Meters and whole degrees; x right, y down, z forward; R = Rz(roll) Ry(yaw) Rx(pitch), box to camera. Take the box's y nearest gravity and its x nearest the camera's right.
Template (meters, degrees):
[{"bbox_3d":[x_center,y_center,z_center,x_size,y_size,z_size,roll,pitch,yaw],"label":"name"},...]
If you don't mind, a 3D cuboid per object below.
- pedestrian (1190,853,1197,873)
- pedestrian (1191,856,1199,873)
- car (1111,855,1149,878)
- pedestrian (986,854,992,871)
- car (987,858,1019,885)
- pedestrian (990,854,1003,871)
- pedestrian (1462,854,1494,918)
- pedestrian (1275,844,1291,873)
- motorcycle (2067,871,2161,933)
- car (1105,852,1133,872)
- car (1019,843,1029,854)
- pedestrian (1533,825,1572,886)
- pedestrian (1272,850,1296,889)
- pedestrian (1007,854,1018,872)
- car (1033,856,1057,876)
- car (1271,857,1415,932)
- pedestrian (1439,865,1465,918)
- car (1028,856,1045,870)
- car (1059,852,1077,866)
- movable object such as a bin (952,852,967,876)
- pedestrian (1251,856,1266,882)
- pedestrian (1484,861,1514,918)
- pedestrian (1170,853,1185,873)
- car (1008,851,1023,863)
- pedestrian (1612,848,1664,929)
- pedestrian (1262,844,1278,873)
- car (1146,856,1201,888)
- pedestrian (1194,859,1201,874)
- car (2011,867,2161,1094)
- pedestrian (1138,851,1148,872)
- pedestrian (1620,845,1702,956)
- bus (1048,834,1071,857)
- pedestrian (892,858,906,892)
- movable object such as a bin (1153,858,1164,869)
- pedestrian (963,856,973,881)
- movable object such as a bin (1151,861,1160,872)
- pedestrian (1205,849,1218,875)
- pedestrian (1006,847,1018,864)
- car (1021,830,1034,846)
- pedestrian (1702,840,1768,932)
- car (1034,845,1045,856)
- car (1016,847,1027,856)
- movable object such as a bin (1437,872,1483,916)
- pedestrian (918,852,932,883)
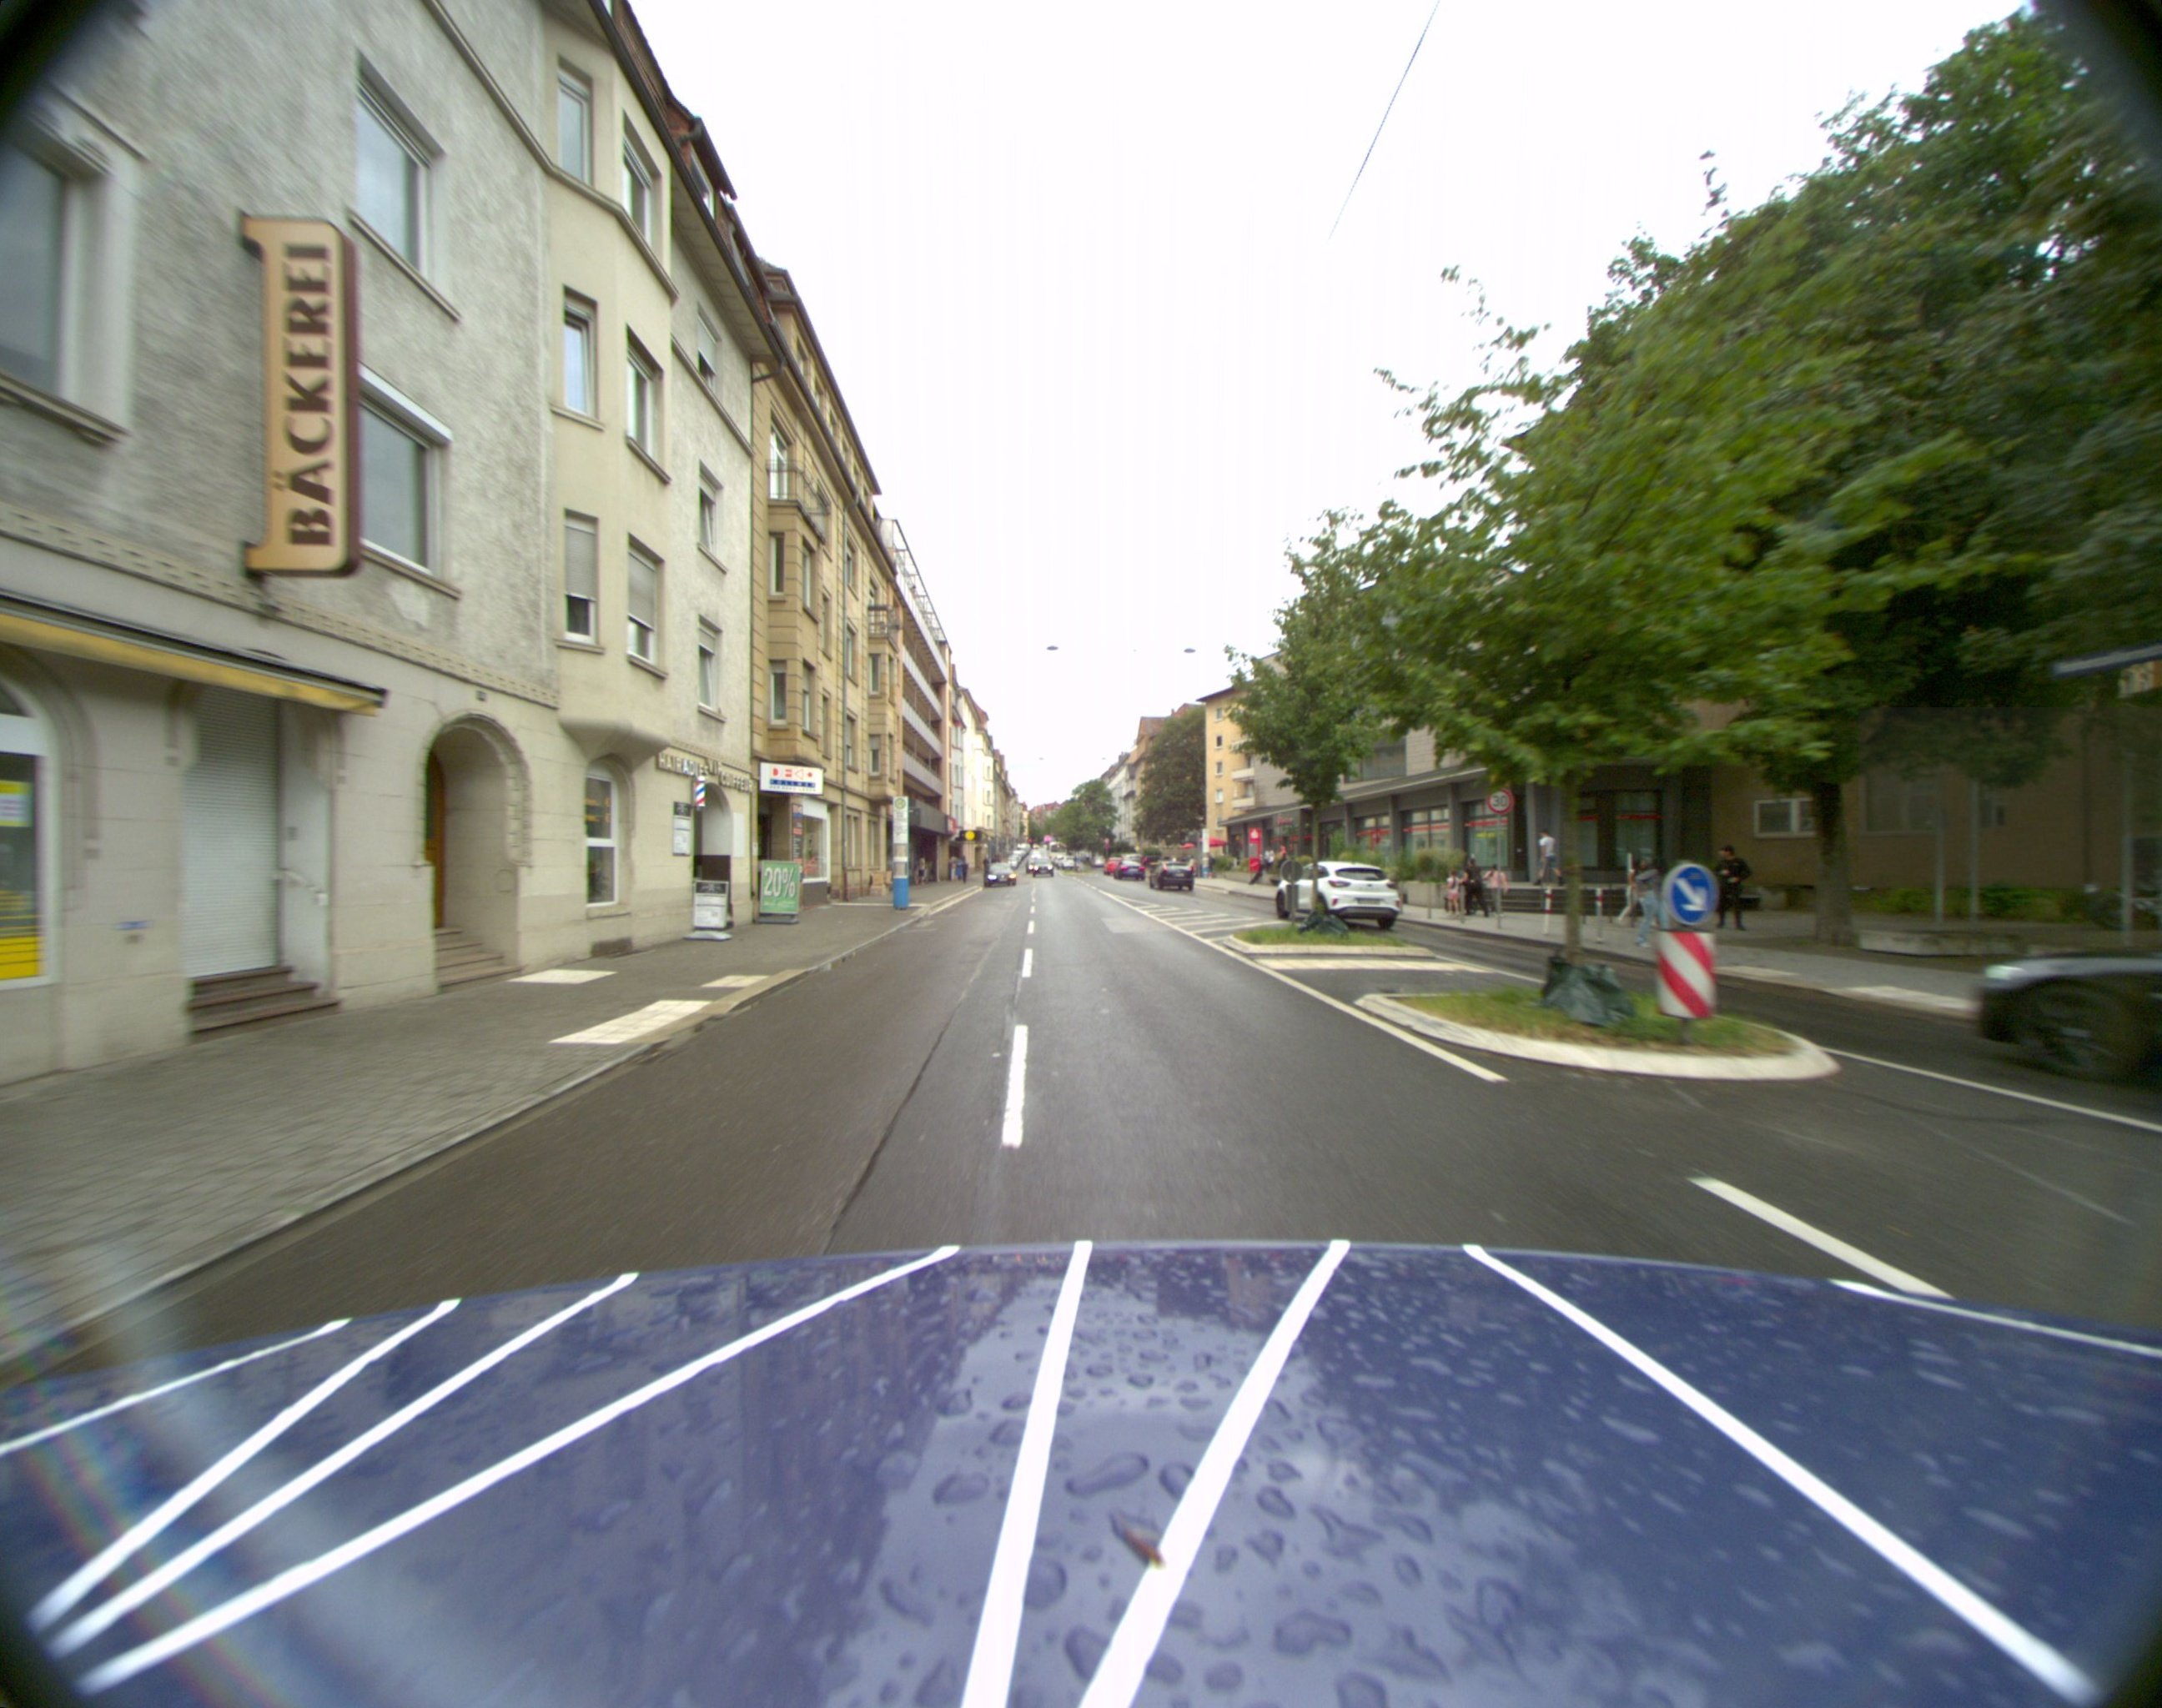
[{"bbox_3d":[8.518,0.673,57.618,0.438,1.540,0.533,-1,1,-4],"label":"pedestrian"},{"bbox_3d":[8.394,0.769,55.981,0.469,1.270,0.549,-1,1,-4],"label":"pedestrian"},{"bbox_3d":[3.619,0.905,57.023,1.961,1.503,4.909,-2,1,-6],"label":"car"},{"bbox_3d":[-9.494,0.840,78.364,0.611,1.738,0.698,1,1,-3],"label":"pedestrian"},{"bbox_3d":[-4.857,1.051,47.868,1.735,1.538,3.980,-1,1,-2],"label":"car"},{"bbox_3d":[-8.651,0.859,77.613,1.060,1.738,0.856,1,1,42],"label":"pedestrian"},{"bbox_3d":[10.474,0.835,20.066,0.499,1.664,0.552,-1,1,-7],"label":"pedestrian"},{"bbox_3d":[11.546,0.249,43.347,0.712,1.669,0.801,-1,1,24],"label":"pedestrian"},{"bbox_3d":[19.161,0.823,13.445,2.056,0.982,0.797,-3,0,12],"label":"motorcycle"},{"bbox_3d":[3.528,0.711,71.902,2.112,1.754,5.057,1,1,-4],"label":"car"},{"bbox_3d":[-10.622,-1.004,141.369,1.720,1.871,3.905,-1,1,-4],"label":"car"},{"bbox_3d":[14.278,0.048,23.029,0.724,1.815,0.720,-2,0,-31],"label":"pedestrian"},{"bbox_3d":[9.547,0.720,35.746,0.724,1.815,0.720,-2,0,-22],"label":"pedestrian"},{"bbox_3d":[-6.511,0.842,72.561,0.701,1.637,0.784,2,1,31],"label":"pedestrian"},{"bbox_3d":[-3.226,1.046,66.633,1.857,1.646,4.202,-1,0,-6],"label":"car"},{"bbox_3d":[6.296,0.903,18.820,1.825,1.560,4.087,3,0,-5],"label":"car"},{"bbox_3d":[9.924,0.993,20.323,0.434,1.402,0.481,-1,1,-7],"label":"pedestrian"},{"bbox_3d":[-4.796,1.000,82.420,1.810,1.412,3.999,-2,0,-3],"label":"car"},{"bbox_3d":[-1.612,0.614,91.023,1.900,1.564,4.122,1,1,-4],"label":"car"},{"bbox_3d":[-9.106,0.729,57.186,1.002,1.783,1.295,-1,1,-5],"label":"movable object such as a bin"},{"bbox_3d":[9.815,0.837,41.935,0.590,1.412,0.726,-1,1,31],"label":"pedestrian"},{"bbox_3d":[11.034,0.928,20.048,0.461,1.465,0.530,-1,1,-7],"label":"pedestrian"},{"bbox_3d":[8.132,0.756,64.023,0.793,1.699,0.761,-4,1,-28],"label":"pedestrian"},{"bbox_3d":[-8.634,0.364,100.514,1.857,1.456,4.202,-2,1,-5],"label":"car"},{"bbox_3d":[12.474,0.754,17.035,0.658,1.749,0.719,-1,1,-27],"label":"pedestrian"},{"bbox_3d":[11.033,0.261,44.363,0.715,1.669,0.713,-1,1,-4],"label":"pedestrian"},{"bbox_3d":[4.738,0.908,39.417,1.961,1.548,4.241,0,0,-5],"label":"car"},{"bbox_3d":[8.476,0.903,55.453,0.393,1.110,0.386,-1,1,-4],"label":"pedestrian"},{"bbox_3d":[7.998,0.818,3.423,2.019,1.417,4.498,-1,0,-3],"label":"car"},{"bbox_3d":[5.890,0.685,72.315,0.703,2.002,0.782,-2,2,-7],"label":"pedestrian"},{"bbox_3d":[10.005,0.778,13.116,0.724,1.815,0.853,-2,0,-26],"label":"pedestrian"},{"bbox_3d":[-3.420,-1.340,116.488,2.814,3.228,11.954,3,1,-5],"label":"bus"},{"bbox_3d":[-8.654,0.994,36.142,0.563,1.563,0.626,-2,1,-20],"label":"pedestrian"},{"bbox_3d":[7.674,0.928,74.928,0.743,1.052,0.811,-2,2,-28],"label":"movable object such as a bin"},{"bbox_3d":[-7.683,0.993,51.711,0.627,1.642,0.748,1,0,-3],"label":"pedestrian"},{"bbox_3d":[7.428,1.200,75.773,0.742,1.052,0.579,-1,2,0],"label":"movable object such as a bin"},{"bbox_3d":[9.081,0.557,52.852,0.591,1.809,0.869,-1,1,-12],"label":"pedestrian"},{"bbox_3d":[-6.590,0.141,72.518,0.701,1.637,0.784,2,1,31],"label":"pedestrian"},{"bbox_3d":[-12.568,-3.731,177.509,2.555,3.613,9.043,-2,1,-6],"label":"car"},{"bbox_3d":[13.504,0.646,15.699,0.863,1.834,0.693,-1,1,-18],"label":"pedestrian"},{"bbox_3d":[-7.553,-0.625,137.746,1.796,1.768,3.901,-1,1,-4],"label":"car"},{"bbox_3d":[-9.793,-0.416,124.167,1.733,1.486,3.549,-2,1,-5],"label":"car"},{"bbox_3d":[10.428,1.089,20.920,0.705,1.128,0.965,-2,1,-7],"label":"movable object such as a bin"},{"bbox_3d":[-9.401,0.810,45.773,0.597,1.848,0.727,-1,2,0],"label":"pedestrian"}]
